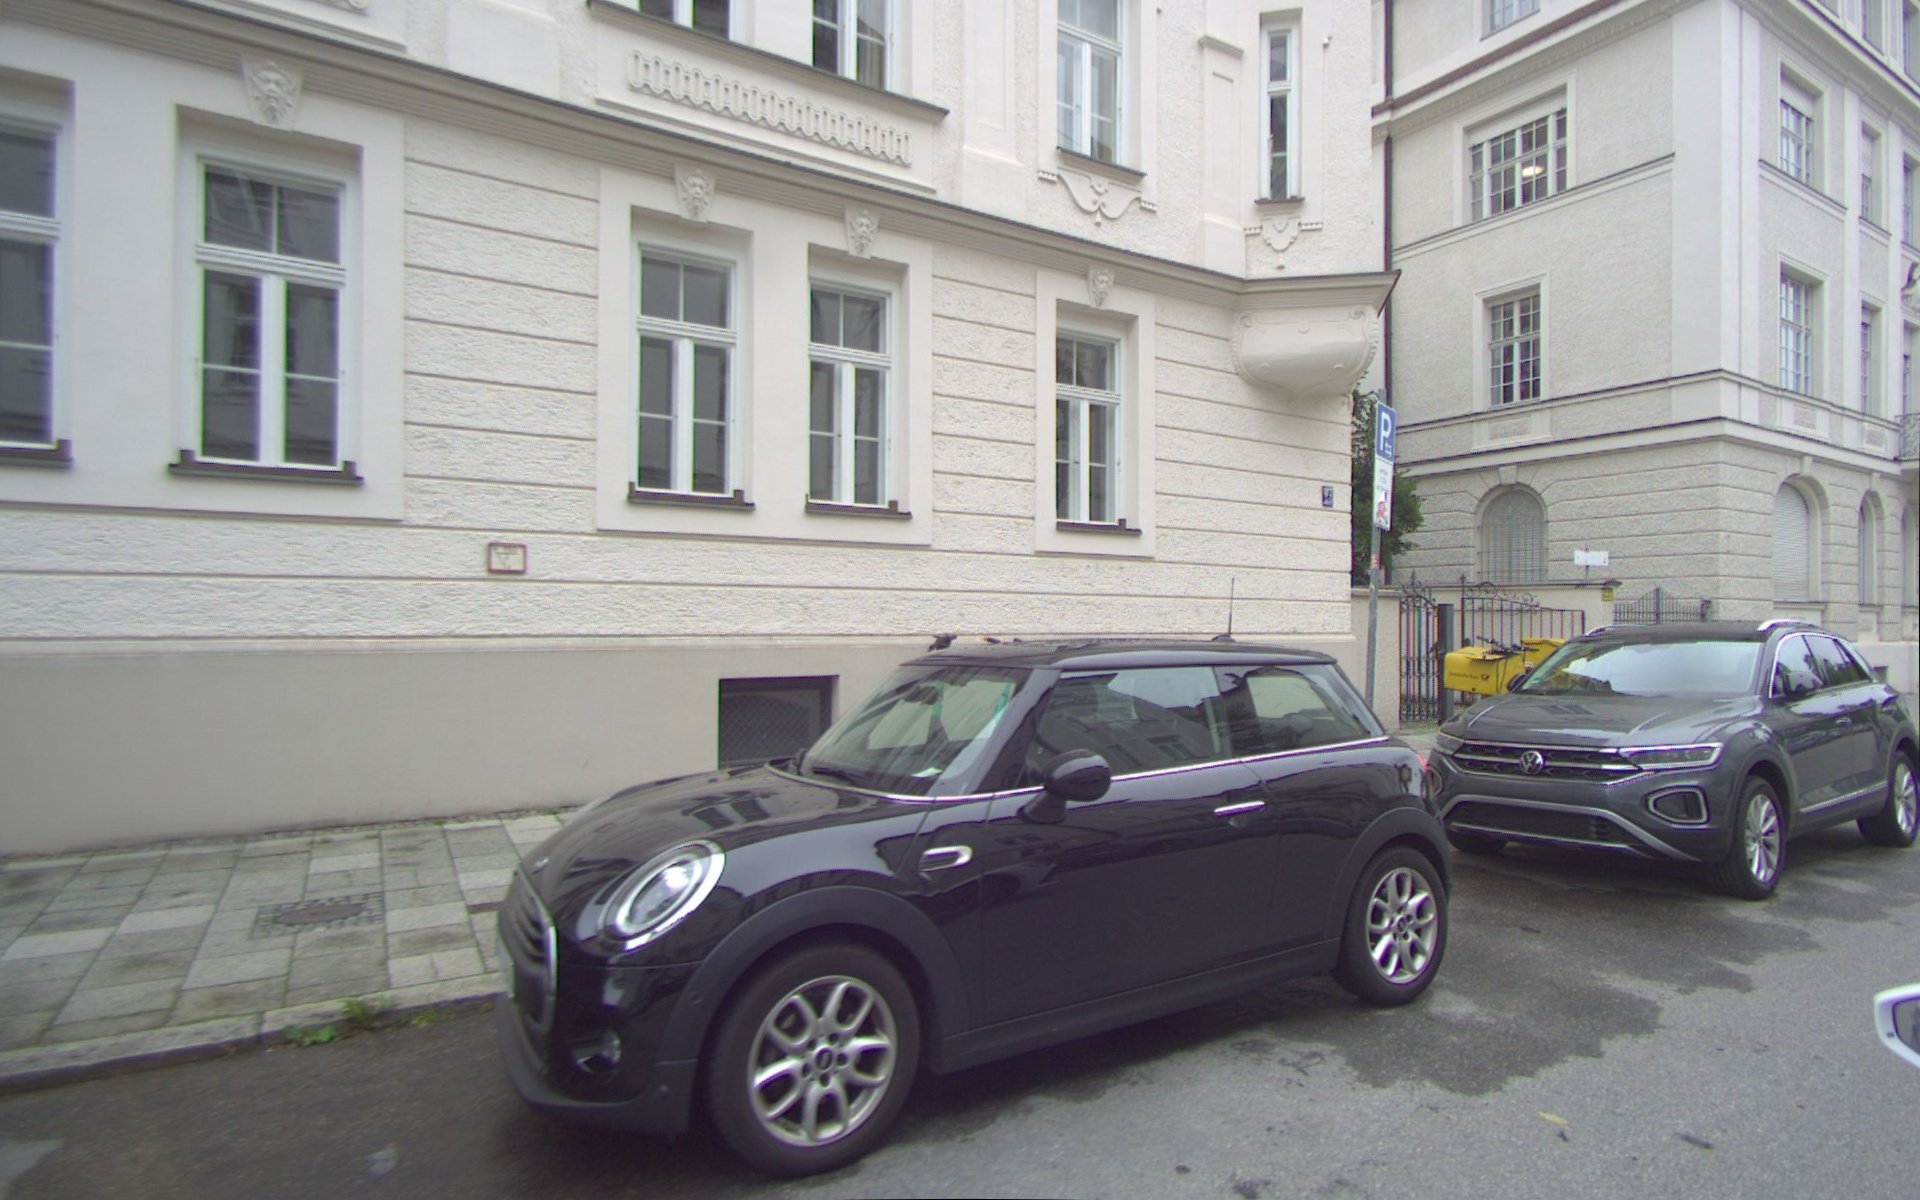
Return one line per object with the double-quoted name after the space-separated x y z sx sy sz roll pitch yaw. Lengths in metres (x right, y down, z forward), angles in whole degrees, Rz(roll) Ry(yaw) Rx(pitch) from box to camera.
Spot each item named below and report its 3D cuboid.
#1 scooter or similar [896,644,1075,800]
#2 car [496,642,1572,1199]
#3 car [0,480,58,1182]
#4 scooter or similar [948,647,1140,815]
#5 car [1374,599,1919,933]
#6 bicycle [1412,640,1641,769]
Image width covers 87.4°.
0.236 1.008 8.700 1.530 1.238 0.491 1 -1 -31 "scooter or similar"
0.450 0.925 4.192 4.195 1.412 1.828 0 -3 -31 "car"
-4.432 0.600 1.186 4.710 1.919 1.827 0 -3 -32 "car"
0.692 0.999 8.066 1.530 1.216 0.529 1 -1 -31 "scooter or similar"
4.822 0.892 6.814 4.078 1.640 1.717 1 -3 -33 "car"
6.728 1.165 11.899 2.685 1.259 1.146 1 3 -31 "bicycle"
